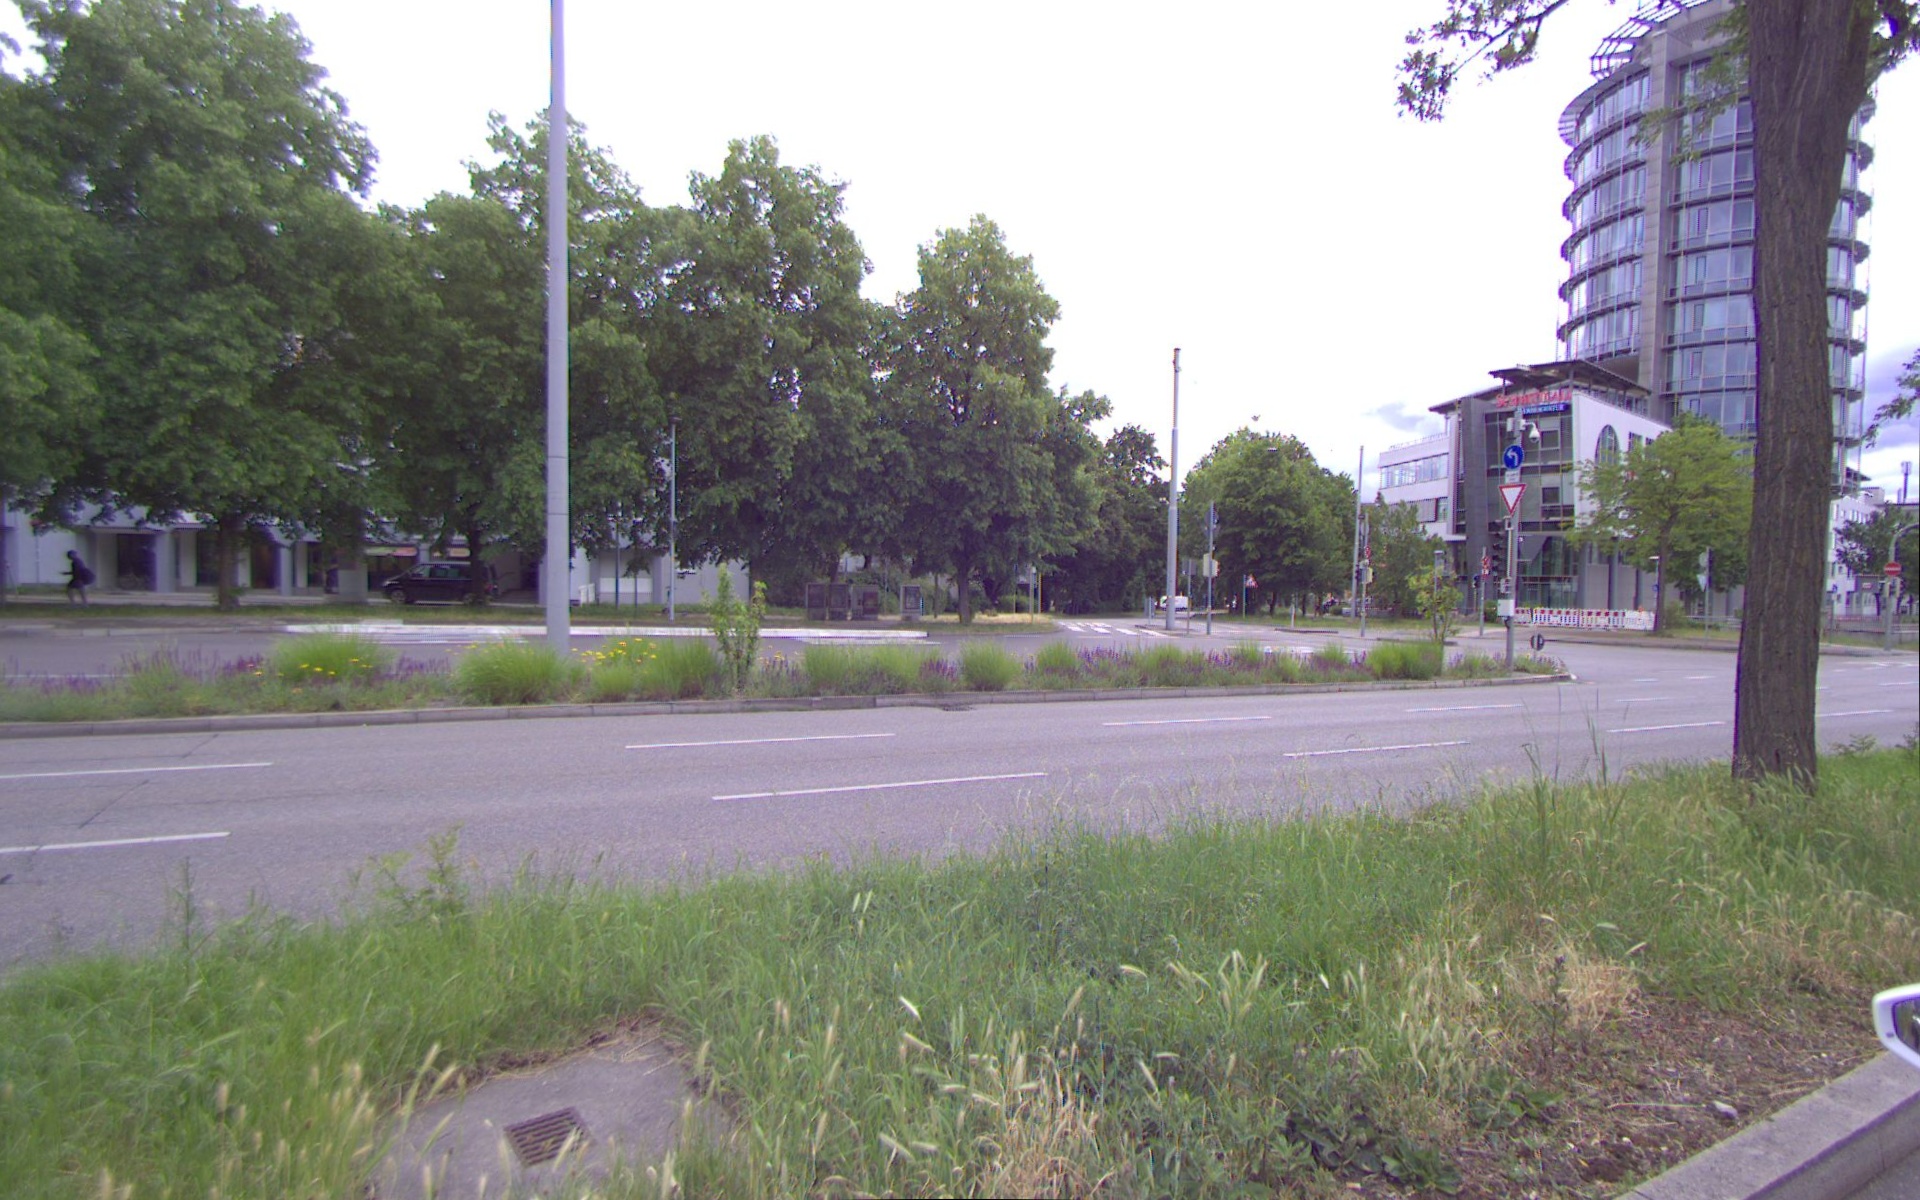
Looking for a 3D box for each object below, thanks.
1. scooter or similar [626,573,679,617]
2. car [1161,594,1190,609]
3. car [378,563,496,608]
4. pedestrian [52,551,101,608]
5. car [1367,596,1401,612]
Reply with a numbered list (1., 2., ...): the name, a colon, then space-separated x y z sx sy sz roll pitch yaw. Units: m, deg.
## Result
1. scooter or similar: -11.873 -0.188 38.843 1.835 1.686 0.645 1 1 -43
2. car: 37.716 0.247 175.669 4.475 2.370 1.994 2 0 -16
3. car: -23.320 -0.644 44.940 4.345 1.872 1.781 1 1 -16
4. pedestrian: -25.356 -0.578 28.834 0.894 1.578 0.766 1 1 -30
5. car: 25.037 0.232 59.388 1.684 0.888 0.776 1 0 7
